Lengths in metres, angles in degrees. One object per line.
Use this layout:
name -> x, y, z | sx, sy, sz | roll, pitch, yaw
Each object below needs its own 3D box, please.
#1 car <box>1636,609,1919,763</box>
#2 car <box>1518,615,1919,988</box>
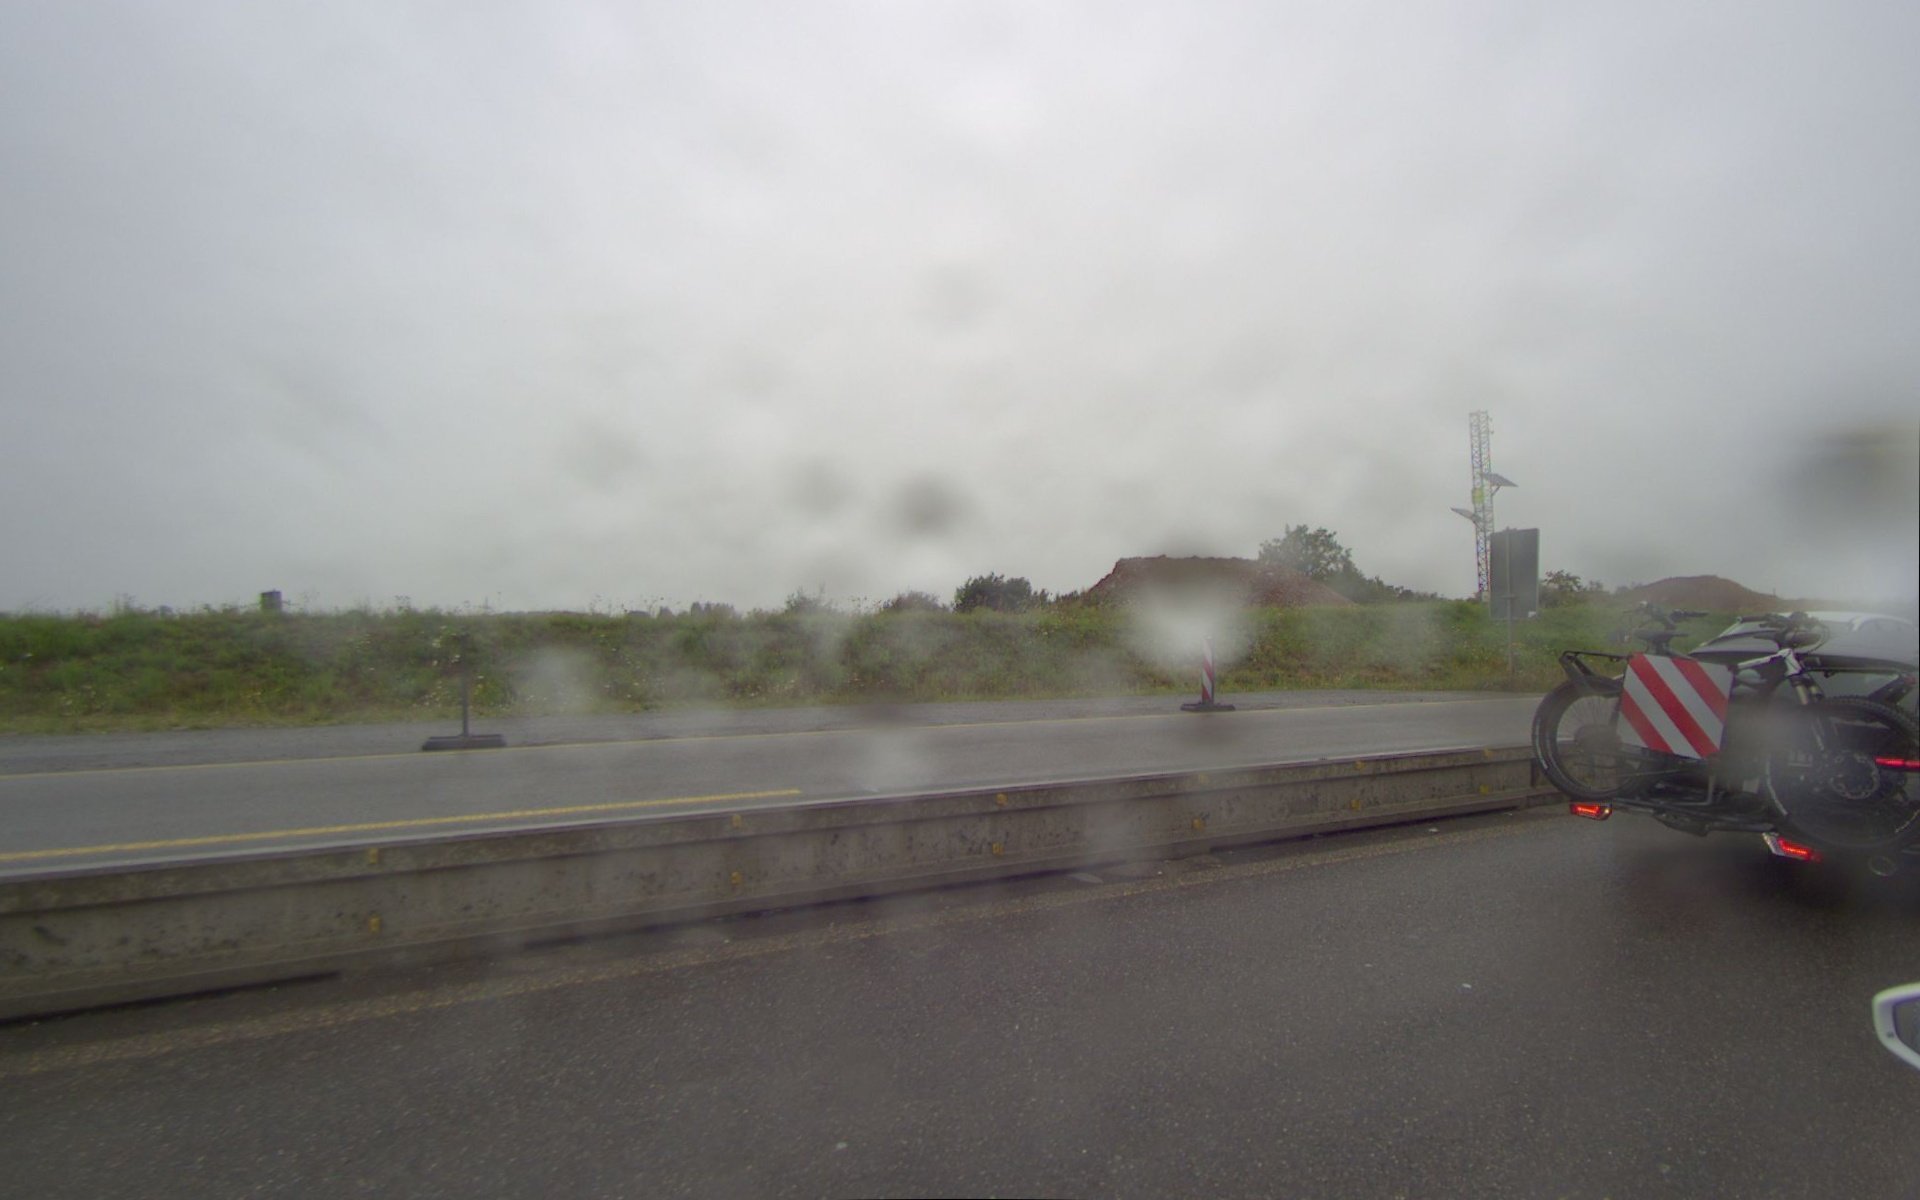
car -> 11.207, 1.058, 13.526 | 4.237, 1.747, 1.782 | 1, 0, -30
car -> 6.054, 0.892, 6.383 | 5.560, 1.482, 1.727 | 0, 1, -29
